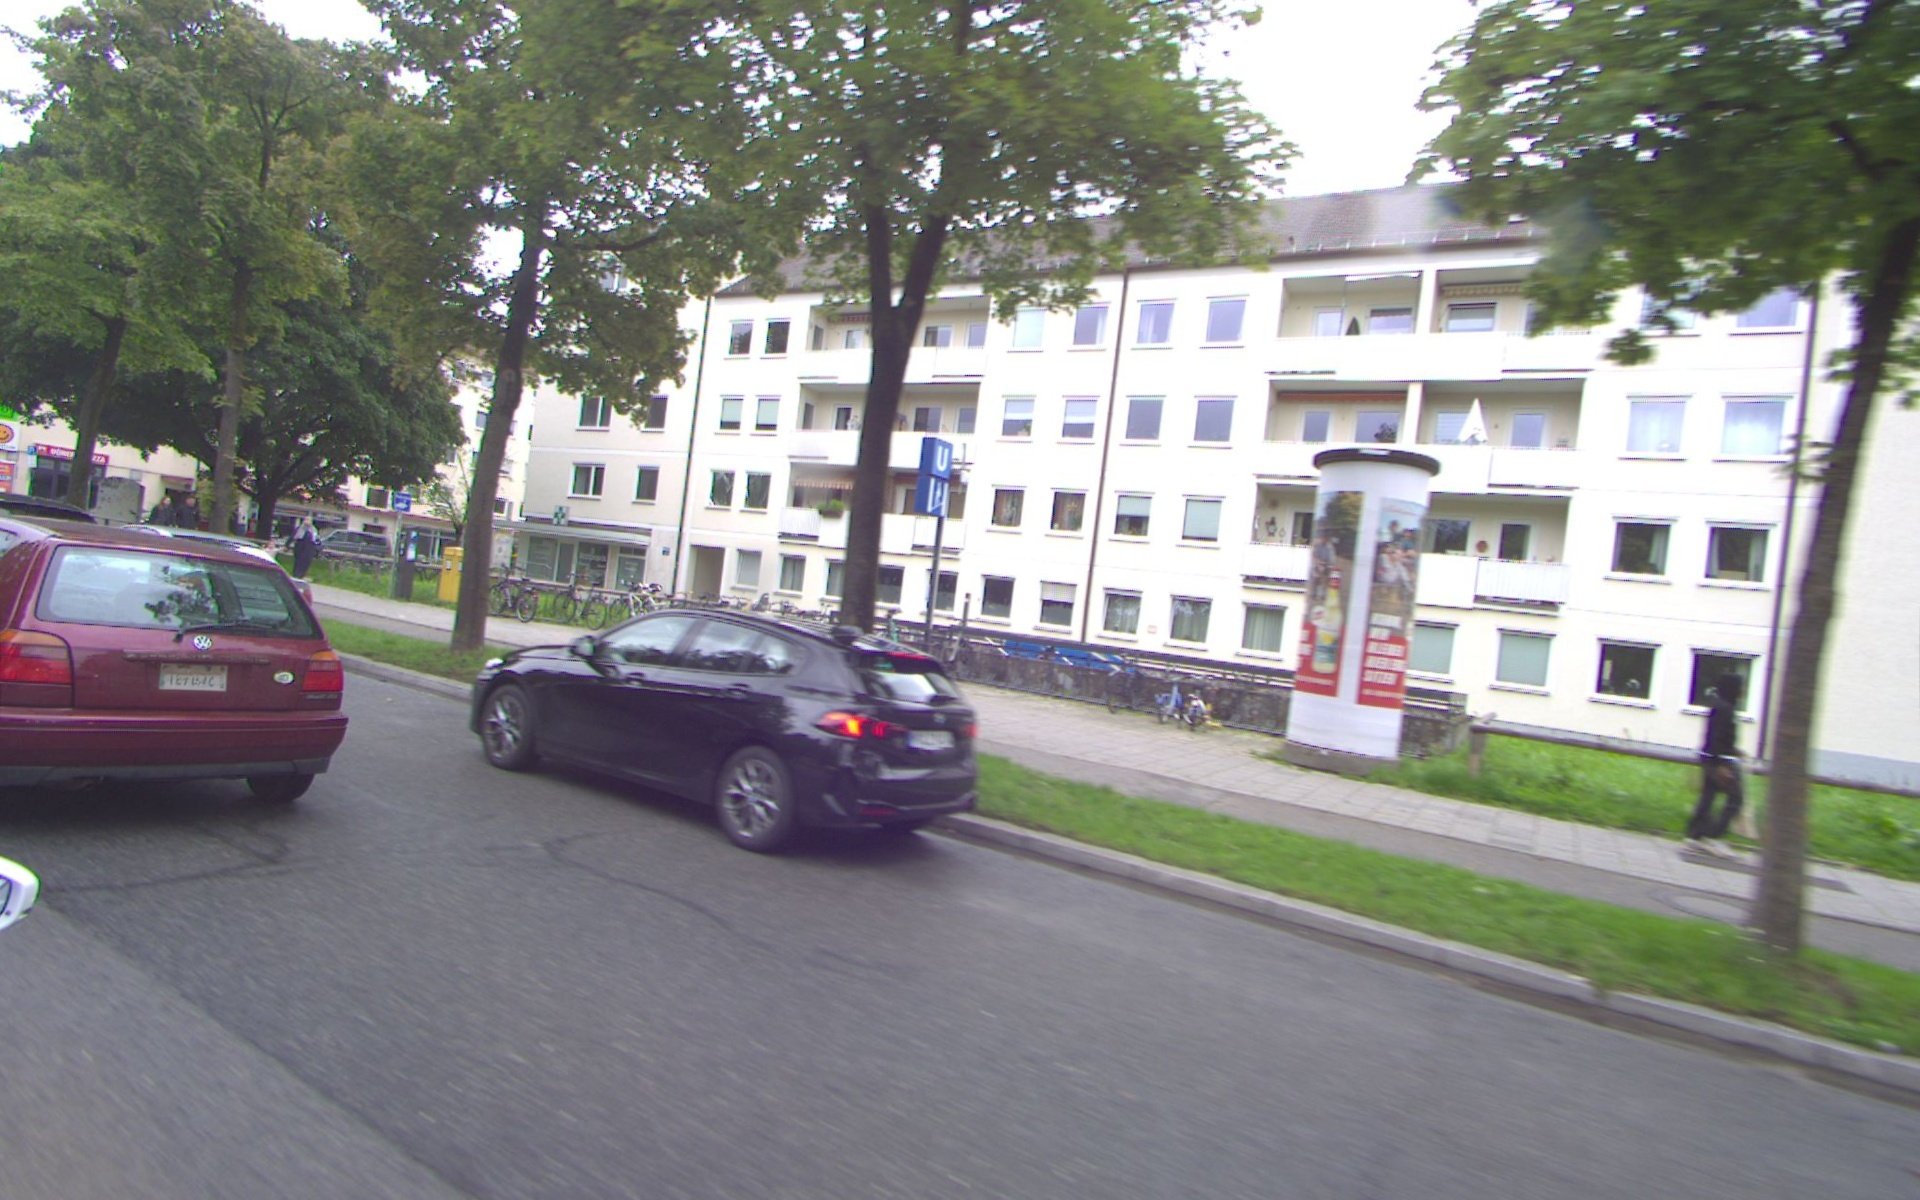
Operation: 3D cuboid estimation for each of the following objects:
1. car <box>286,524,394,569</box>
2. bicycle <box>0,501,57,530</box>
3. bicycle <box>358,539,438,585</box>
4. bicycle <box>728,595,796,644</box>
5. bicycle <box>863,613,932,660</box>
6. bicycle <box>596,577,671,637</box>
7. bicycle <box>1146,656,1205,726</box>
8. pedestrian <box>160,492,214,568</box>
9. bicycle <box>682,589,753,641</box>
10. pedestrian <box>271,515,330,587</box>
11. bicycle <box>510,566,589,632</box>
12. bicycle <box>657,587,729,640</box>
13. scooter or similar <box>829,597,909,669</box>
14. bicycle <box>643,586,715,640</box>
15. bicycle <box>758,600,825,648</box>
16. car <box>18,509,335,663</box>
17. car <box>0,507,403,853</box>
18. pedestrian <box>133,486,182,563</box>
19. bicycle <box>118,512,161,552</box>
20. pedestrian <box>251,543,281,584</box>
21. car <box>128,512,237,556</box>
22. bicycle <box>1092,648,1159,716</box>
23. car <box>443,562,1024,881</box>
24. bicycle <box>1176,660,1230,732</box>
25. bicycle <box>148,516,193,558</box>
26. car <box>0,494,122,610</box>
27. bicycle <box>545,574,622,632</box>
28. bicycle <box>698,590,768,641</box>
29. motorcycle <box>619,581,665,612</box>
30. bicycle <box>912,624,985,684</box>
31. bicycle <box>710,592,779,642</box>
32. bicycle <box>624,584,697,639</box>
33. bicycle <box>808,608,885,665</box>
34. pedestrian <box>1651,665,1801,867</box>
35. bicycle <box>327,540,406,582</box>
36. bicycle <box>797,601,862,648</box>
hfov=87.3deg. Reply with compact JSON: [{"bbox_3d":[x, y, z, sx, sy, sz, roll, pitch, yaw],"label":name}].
[{"bbox_3d":[-34.488,-2.941,56.109,1.840,1.794,4.743,7,0,30],"label":"car"},{"bbox_3d":[-42.540,-3.850,45.906,0.548,0.968,1.852,7,-2,30],"label":"bicycle"},{"bbox_3d":[-15.511,-1.036,27.817,0.426,0.985,1.880,7,-2,33],"label":"bicycle"},{"bbox_3d":[-5.178,0.503,26.219,1.852,1.041,0.431,7,1,33],"label":"bicycle"},{"bbox_3d":[-1.706,0.985,27.284,1.852,1.041,0.431,7,1,33],"label":"bicycle"},{"bbox_3d":[-7.354,0.150,22.620,1.852,1.115,0.431,7,1,33],"label":"bicycle"},{"bbox_3d":[3.604,1.486,16.738,0.425,1.041,1.882,7,0,26],"label":"bicycle"},{"bbox_3d":[-20.943,-1.883,27.270,0.904,1.913,0.730,7,1,30],"label":"pedestrian"},{"bbox_3d":[-5.964,0.355,24.711,1.852,1.041,0.431,7,1,33],"label":"bicycle"},{"bbox_3d":[-16.869,-1.239,25.735,0.821,1.702,0.839,7,0,30],"label":"pedestrian"},{"bbox_3d":[-8.567,-0.039,20.944,1.852,1.148,0.431,8,1,33],"label":"bicycle"},{"bbox_3d":[-6.391,0.305,24.074,1.852,1.041,0.431,7,1,33],"label":"bicycle"},{"bbox_3d":[-1.734,0.624,19.178,1.367,1.215,0.358,7,1,-11],"label":"scooter or similar"},{"bbox_3d":[-6.619,0.304,23.645,1.852,1.041,0.431,7,1,33],"label":"bicycle"},{"bbox_3d":[-4.525,0.632,26.899,1.852,1.041,0.431,7,1,33],"label":"bicycle"},{"bbox_3d":[-10.273,-0.206,13.135,4.171,1.401,1.640,7,-2,29],"label":"car"},{"bbox_3d":[-5.191,0.226,5.734,3.853,1.399,1.686,7,-2,31],"label":"car"},{"bbox_3d":[-21.288,-1.996,26.684,0.887,1.913,0.588,7,1,30],"label":"pedestrian"},{"bbox_3d":[-26.115,-2.178,32.011,1.823,1.118,0.389,7,-1,32],"label":"bicycle"},{"bbox_3d":[-17.470,-0.925,25.317,0.428,0.961,0.408,7,1,30],"label":"pedestrian"},{"bbox_3d":[-36.369,-3.066,47.149,1.841,1.434,3.552,7,0,33],"label":"car"},{"bbox_3d":[2.843,1.386,17.112,0.425,1.041,1.881,7,0,28],"label":"bicycle"},{"bbox_3d":[-1.810,0.743,7.576,4.108,1.482,1.754,7,-2,33],"label":"car"},{"bbox_3d":[3.949,1.522,16.251,0.425,1.041,1.882,7,0,23],"label":"bicycle"},{"bbox_3d":[-24.192,-1.936,30.830,1.852,1.116,0.382,7,-1,32],"label":"bicycle"},{"bbox_3d":[-15.396,-0.920,16.069,4.204,1.550,1.720,7,-2,32],"label":"car"},{"bbox_3d":[-8.164,0.055,21.776,1.852,1.041,0.431,7,1,33],"label":"bicycle"},{"bbox_3d":[-5.676,0.378,25.105,1.852,1.041,0.431,7,1,33],"label":"bicycle"},{"bbox_3d":[-12.808,-0.145,40.544,1.875,1.035,0.605,7,-1,32],"label":"motorcycle"},{"bbox_3d":[-0.185,1.032,19.014,0.425,1.041,1.881,7,0,28],"label":"bicycle"},{"bbox_3d":[-5.495,0.424,25.572,1.852,1.041,0.431,7,1,33],"label":"bicycle"},{"bbox_3d":[-6.913,0.262,23.182,1.852,1.041,0.431,7,1,33],"label":"bicycle"},{"bbox_3d":[-2.249,0.757,20.155,0.425,1.041,1.881,7,0,28],"label":"bicycle"},{"bbox_3d":[7.463,1.583,9.850,0.833,1.772,0.641,7,2,22],"label":"pedestrian"},{"bbox_3d":[-17.490,-1.130,29.705,0.549,0.950,1.881,7,-2,33],"label":"bicycle"},{"bbox_3d":[-3.600,0.667,27.679,1.852,1.041,0.431,7,1,33],"label":"bicycle"}]
